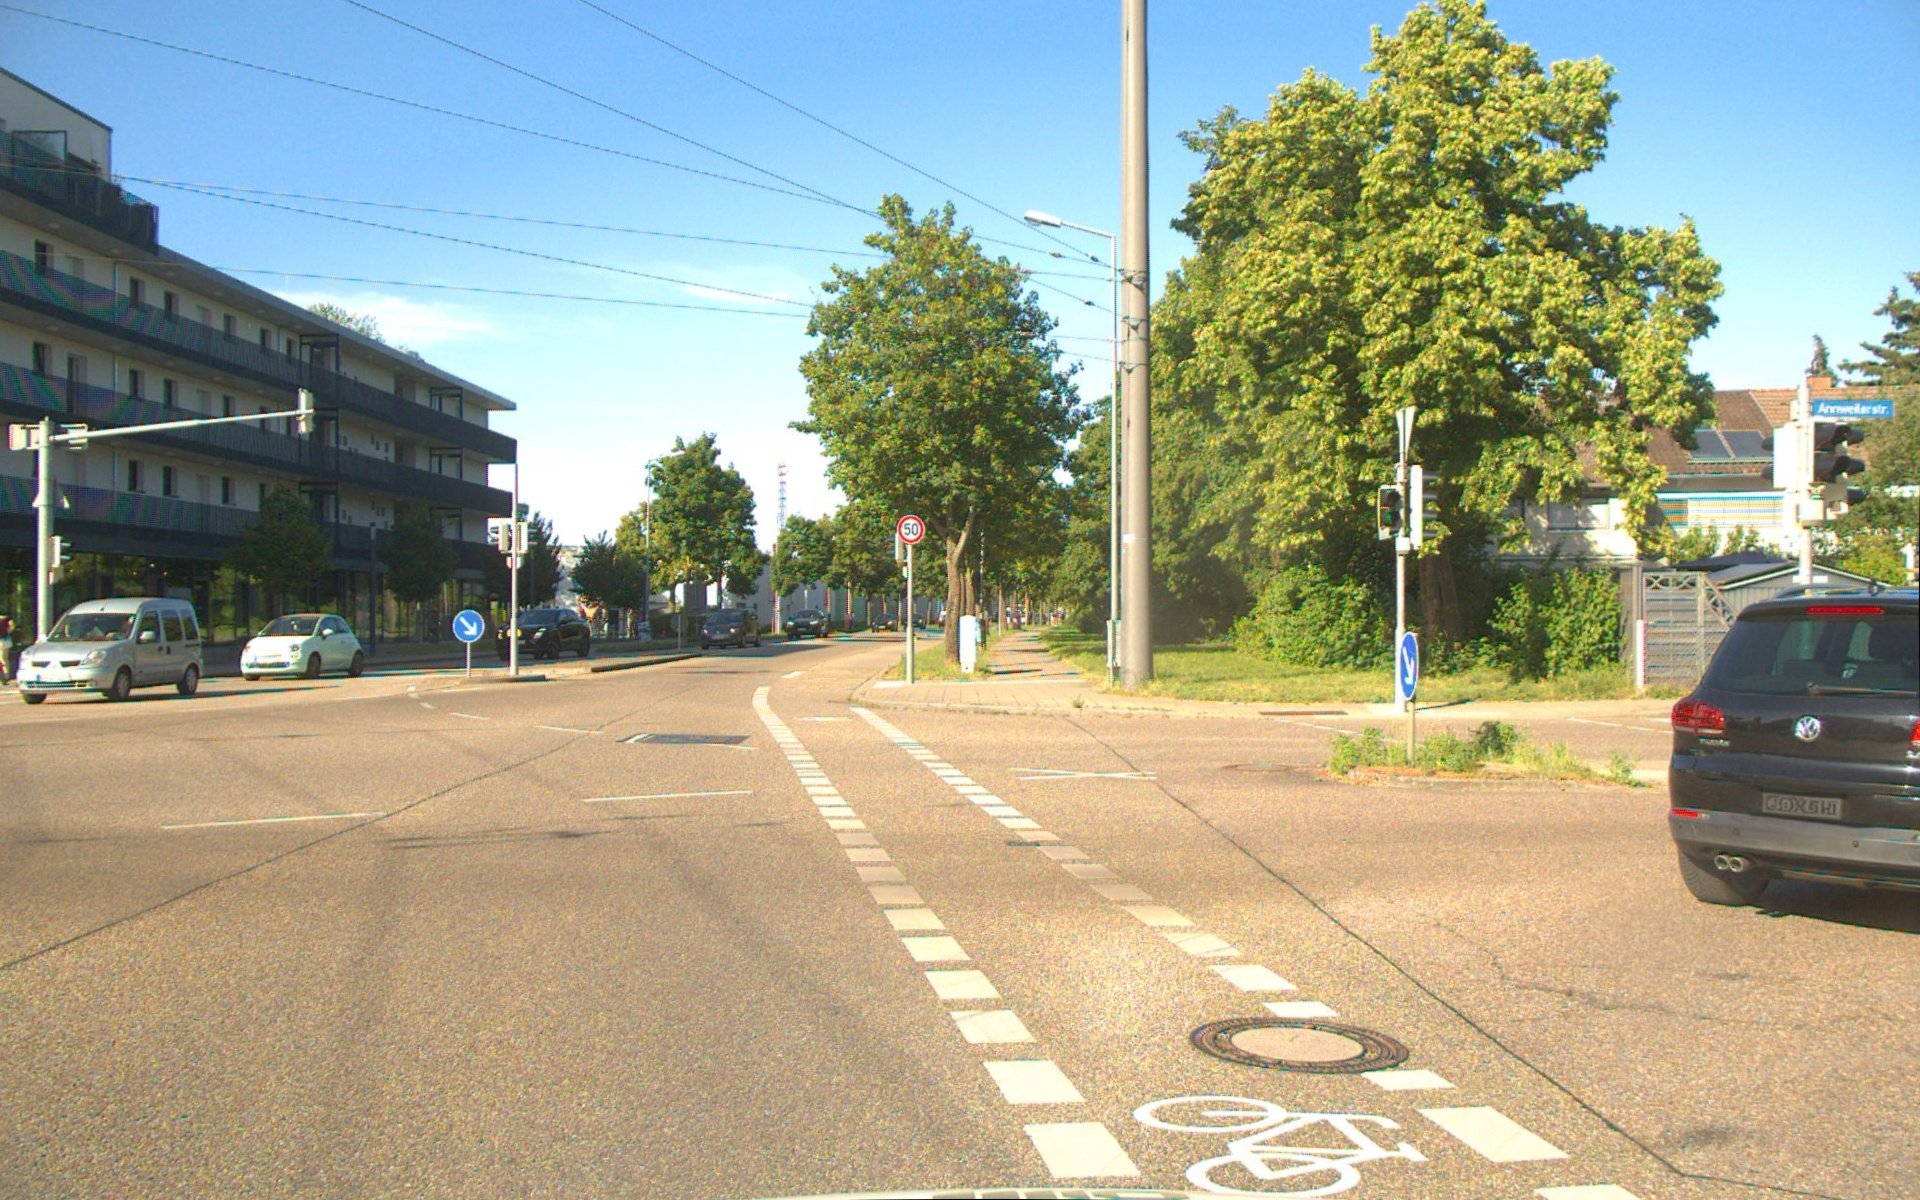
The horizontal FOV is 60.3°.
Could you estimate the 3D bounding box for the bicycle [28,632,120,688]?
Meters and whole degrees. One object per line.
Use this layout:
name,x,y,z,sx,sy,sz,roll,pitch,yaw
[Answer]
bicycle,-19.397,1.306,36.248,1.608,1.164,0.743,-1,-1,-10

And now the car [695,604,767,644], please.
car,-9.340,0.975,67.783,1.951,1.599,4.003,-1,-1,7

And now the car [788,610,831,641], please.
car,-8.894,1.496,98.135,1.952,1.768,5.199,-1,0,1

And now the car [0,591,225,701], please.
car,-14.941,0.776,29.241,1.953,1.786,4.361,0,-1,0

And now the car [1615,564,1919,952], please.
car,5.609,0.711,8.966,4.470,1.683,1.909,1,0,-39

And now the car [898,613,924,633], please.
car,-4.433,2.073,150.405,1.855,1.789,4.002,2,-1,4

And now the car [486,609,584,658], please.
car,-13.975,1.082,54.702,1.926,1.561,4.741,-1,-1,1

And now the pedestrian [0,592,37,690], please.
pedestrian,-20.360,0.871,35.239,0.957,2.049,0.760,-1,-1,-3

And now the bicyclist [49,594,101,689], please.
bicyclist,-19.387,0.893,36.257,0.778,2.049,0.809,0,-1,-10

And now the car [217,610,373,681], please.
car,-15.568,1.041,38.940,1.951,1.513,3.546,-2,0,5
